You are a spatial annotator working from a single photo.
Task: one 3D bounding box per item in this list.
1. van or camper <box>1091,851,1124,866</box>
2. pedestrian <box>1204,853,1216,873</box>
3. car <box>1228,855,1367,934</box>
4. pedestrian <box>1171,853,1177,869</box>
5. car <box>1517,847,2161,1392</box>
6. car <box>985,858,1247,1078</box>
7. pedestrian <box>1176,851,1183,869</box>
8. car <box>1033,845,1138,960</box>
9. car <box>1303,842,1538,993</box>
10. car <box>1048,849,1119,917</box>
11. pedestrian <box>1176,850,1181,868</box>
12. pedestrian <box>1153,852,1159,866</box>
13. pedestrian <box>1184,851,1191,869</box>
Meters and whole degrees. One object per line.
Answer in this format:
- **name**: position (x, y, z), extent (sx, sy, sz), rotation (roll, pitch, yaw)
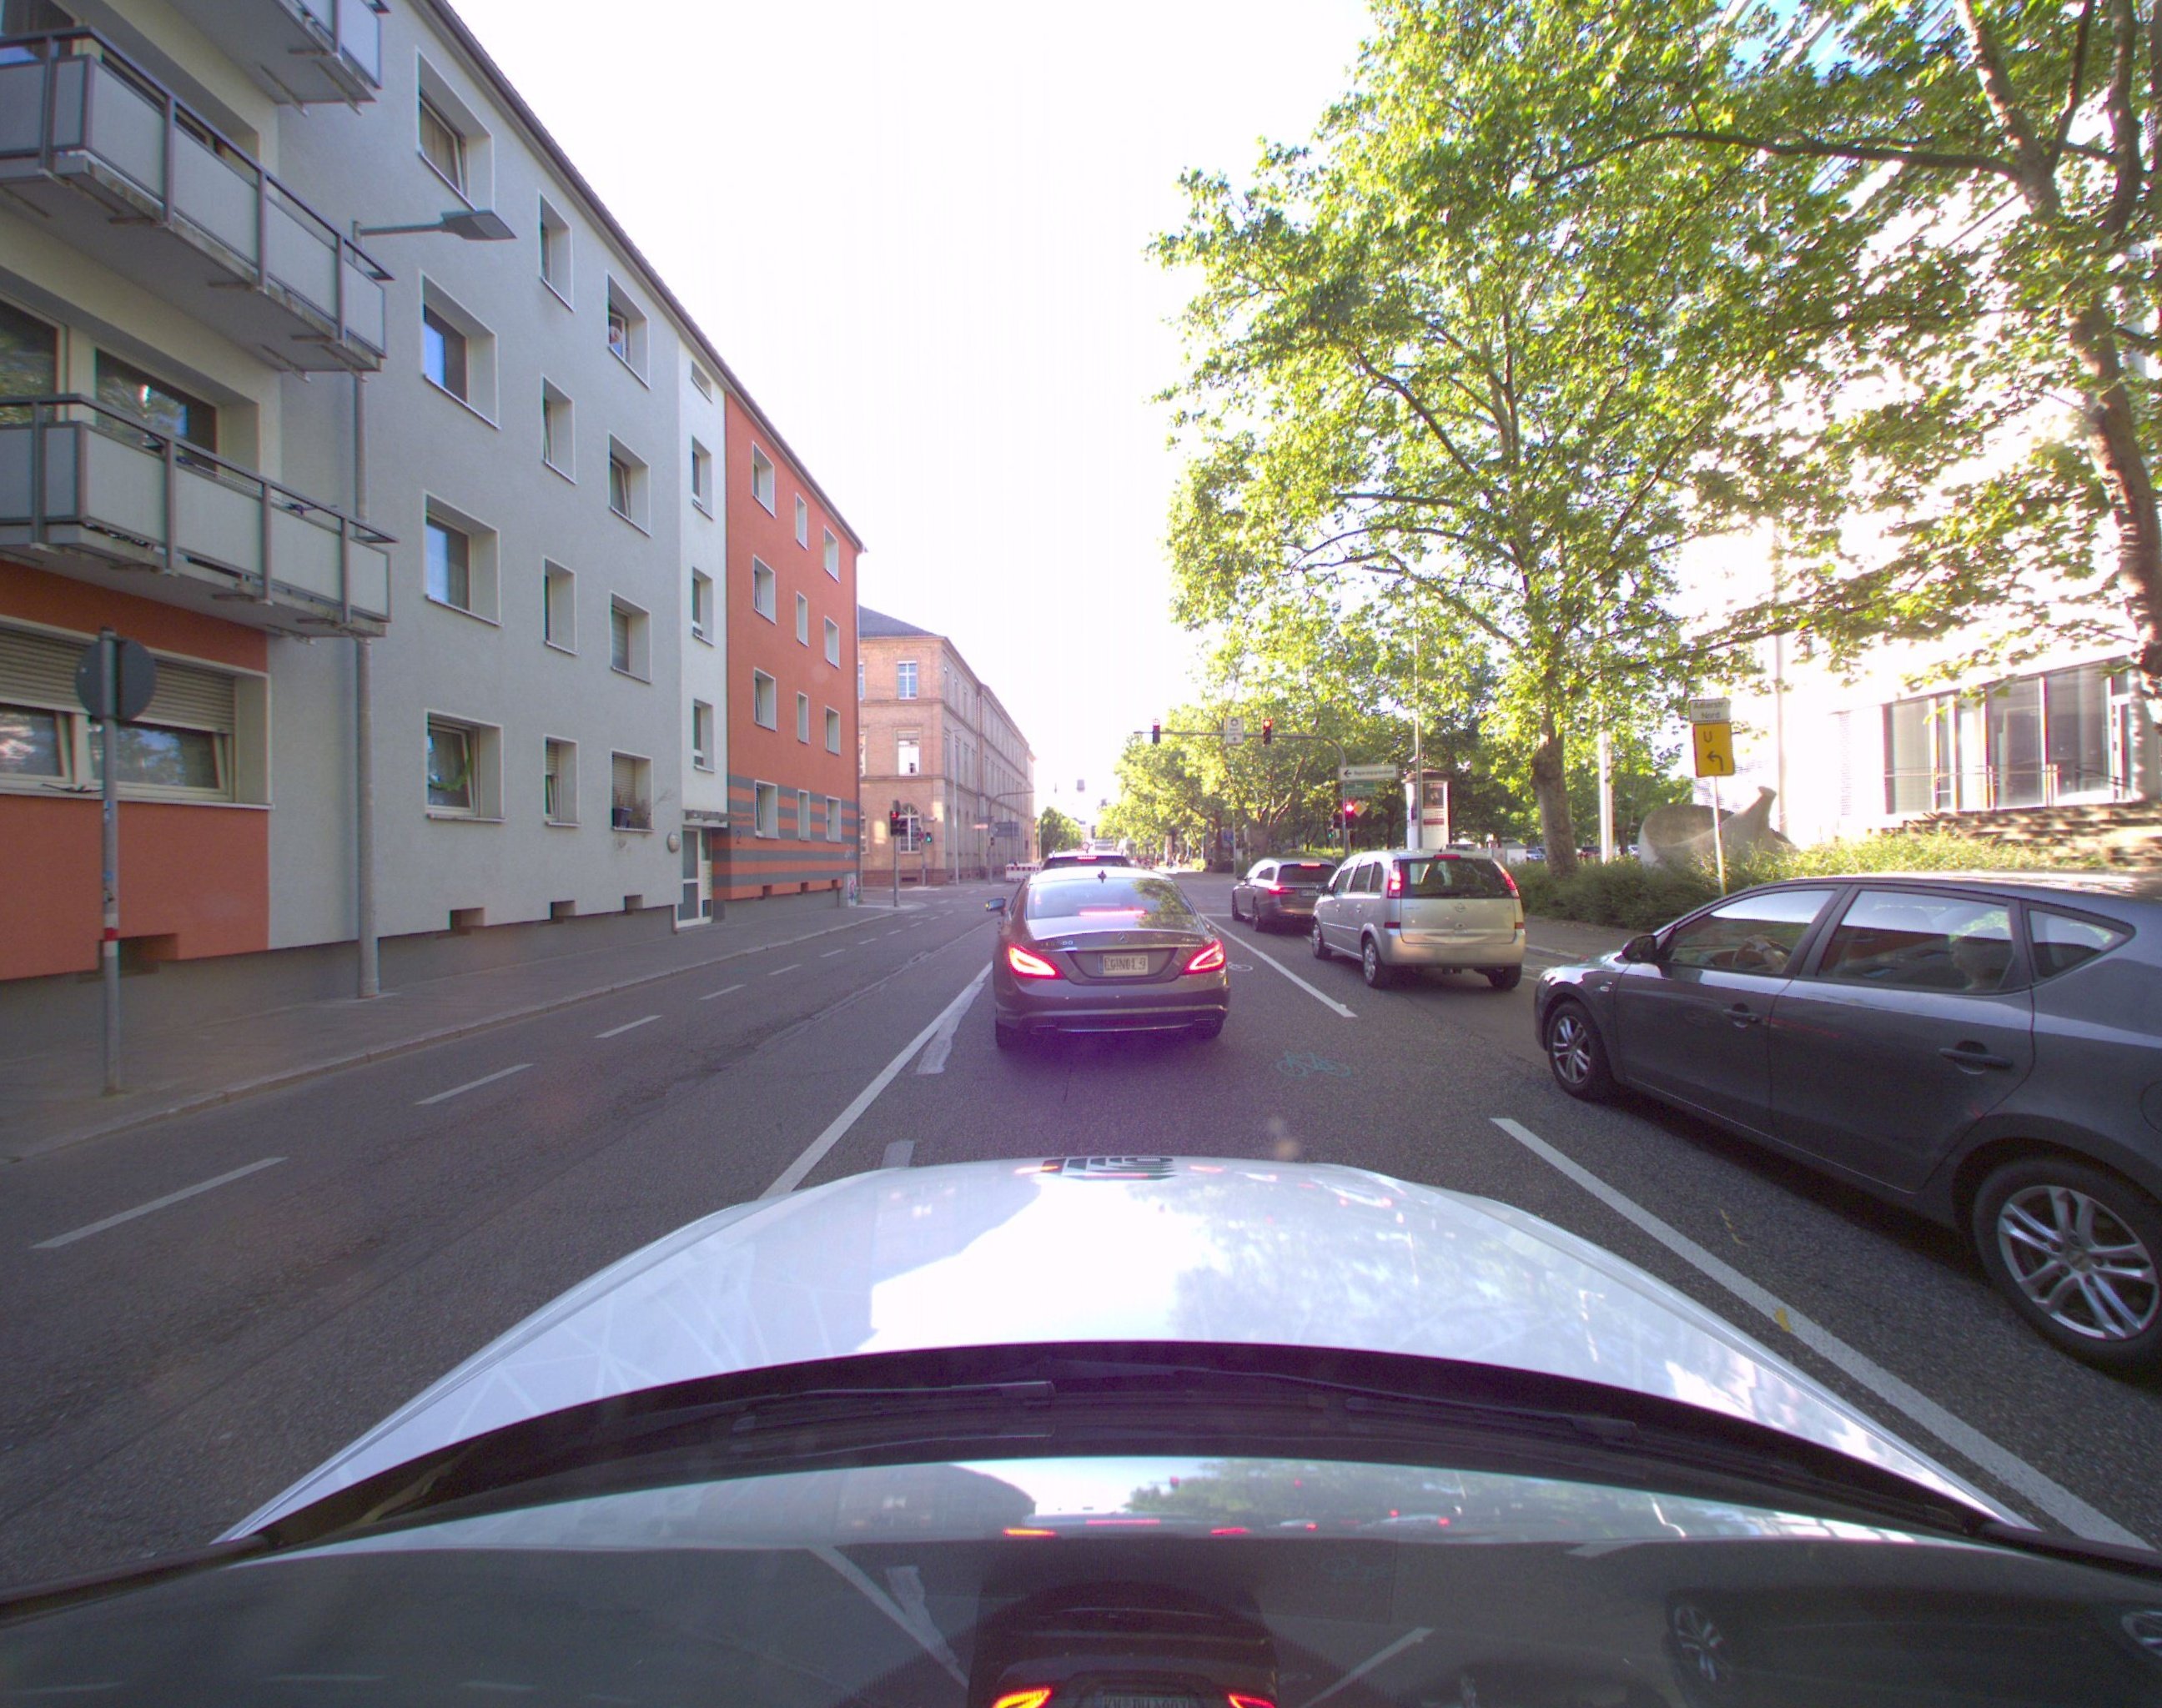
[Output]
- **van or camper**: position (3.501, 0.638, 108.653), extent (2.009, 1.941, 4.543), rotation (0, 0, -37)
- **pedestrian**: position (10.194, 0.716, 64.410), extent (0.827, 1.606, 0.652), rotation (-1, 0, 1)
- **car**: position (4.464, 0.762, 17.551), extent (1.905, 1.464, 4.671), rotation (0, 0, 2)
- **pedestrian**: position (10.995, 0.830, 96.717), extent (0.609, 1.821, 0.933), rotation (-1, 0, 2)
- **car**: position (3.810, 0.730, 3.706), extent (1.638, 1.482, 3.978), rotation (0, 0, 2)
- **car**: position (0.061, 0.780, 7.767), extent (1.801, 1.456, 4.342), rotation (-1, 0, -5)
- **pedestrian**: position (9.977, 0.588, 82.602), extent (0.601, 1.821, 0.652), rotation (-1, 0, 1)
- **car**: position (0.059, 0.707, 13.763), extent (1.513, 1.647, 3.879), rotation (-1, 0, 0)
- **car**: position (4.188, 0.679, 10.725), extent (1.694, 1.603, 3.863), rotation (1, 0, 4)
- **car**: position (0.127, 0.765, 23.373), extent (1.813, 1.762, 4.002), rotation (-1, 0, 2)
- **pedestrian**: position (11.121, 0.543, 93.186), extent (0.537, 2.014, 0.474), rotation (0, -1, 1)
- **pedestrian**: position (9.921, 0.655, 107.428), extent (0.699, 1.837, 0.736), rotation (-1, 0, -1)
- **pedestrian**: position (10.788, 0.625, 82.530), extent (0.601, 1.821, 0.652), rotation (-1, 0, 1)
